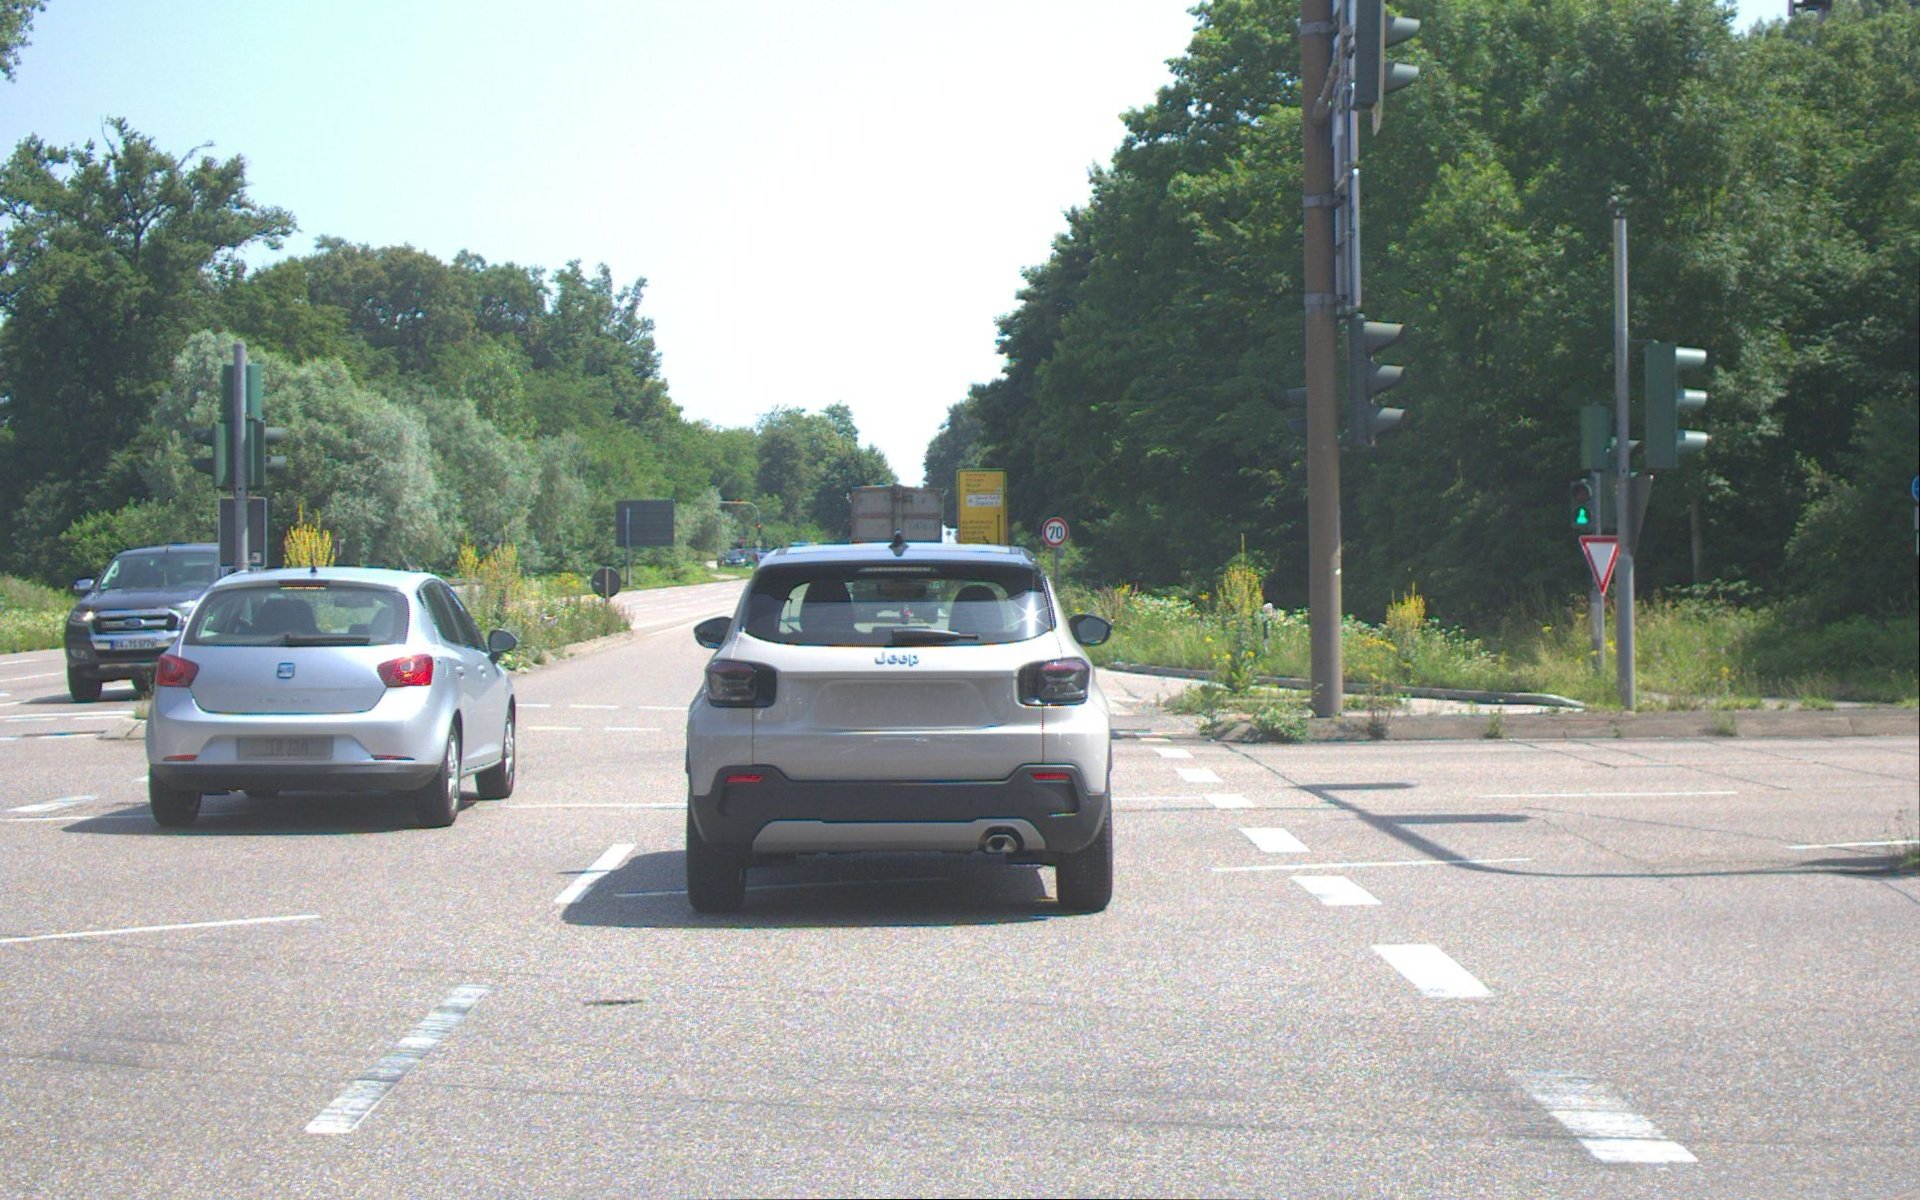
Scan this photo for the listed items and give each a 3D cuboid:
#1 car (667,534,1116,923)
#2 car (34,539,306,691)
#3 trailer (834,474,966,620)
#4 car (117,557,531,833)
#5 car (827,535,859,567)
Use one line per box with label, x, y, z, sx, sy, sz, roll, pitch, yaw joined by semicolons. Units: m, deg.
car;-0.262;0.481;15.561;1.767;1.529;4.000;0;1;0
car;-9.498;0.136;41.783;1.993;1.672;5.365;-2;1;0
trailer;-1.643;-1.501;100.442;3.383;3.975;10.803;1;0;1
car;-3.591;0.475;20.033;1.666;1.425;3.828;1;1;0
car;-7.578;-3.147;222.214;1.993;2.007;4.554;-1;1;-3
